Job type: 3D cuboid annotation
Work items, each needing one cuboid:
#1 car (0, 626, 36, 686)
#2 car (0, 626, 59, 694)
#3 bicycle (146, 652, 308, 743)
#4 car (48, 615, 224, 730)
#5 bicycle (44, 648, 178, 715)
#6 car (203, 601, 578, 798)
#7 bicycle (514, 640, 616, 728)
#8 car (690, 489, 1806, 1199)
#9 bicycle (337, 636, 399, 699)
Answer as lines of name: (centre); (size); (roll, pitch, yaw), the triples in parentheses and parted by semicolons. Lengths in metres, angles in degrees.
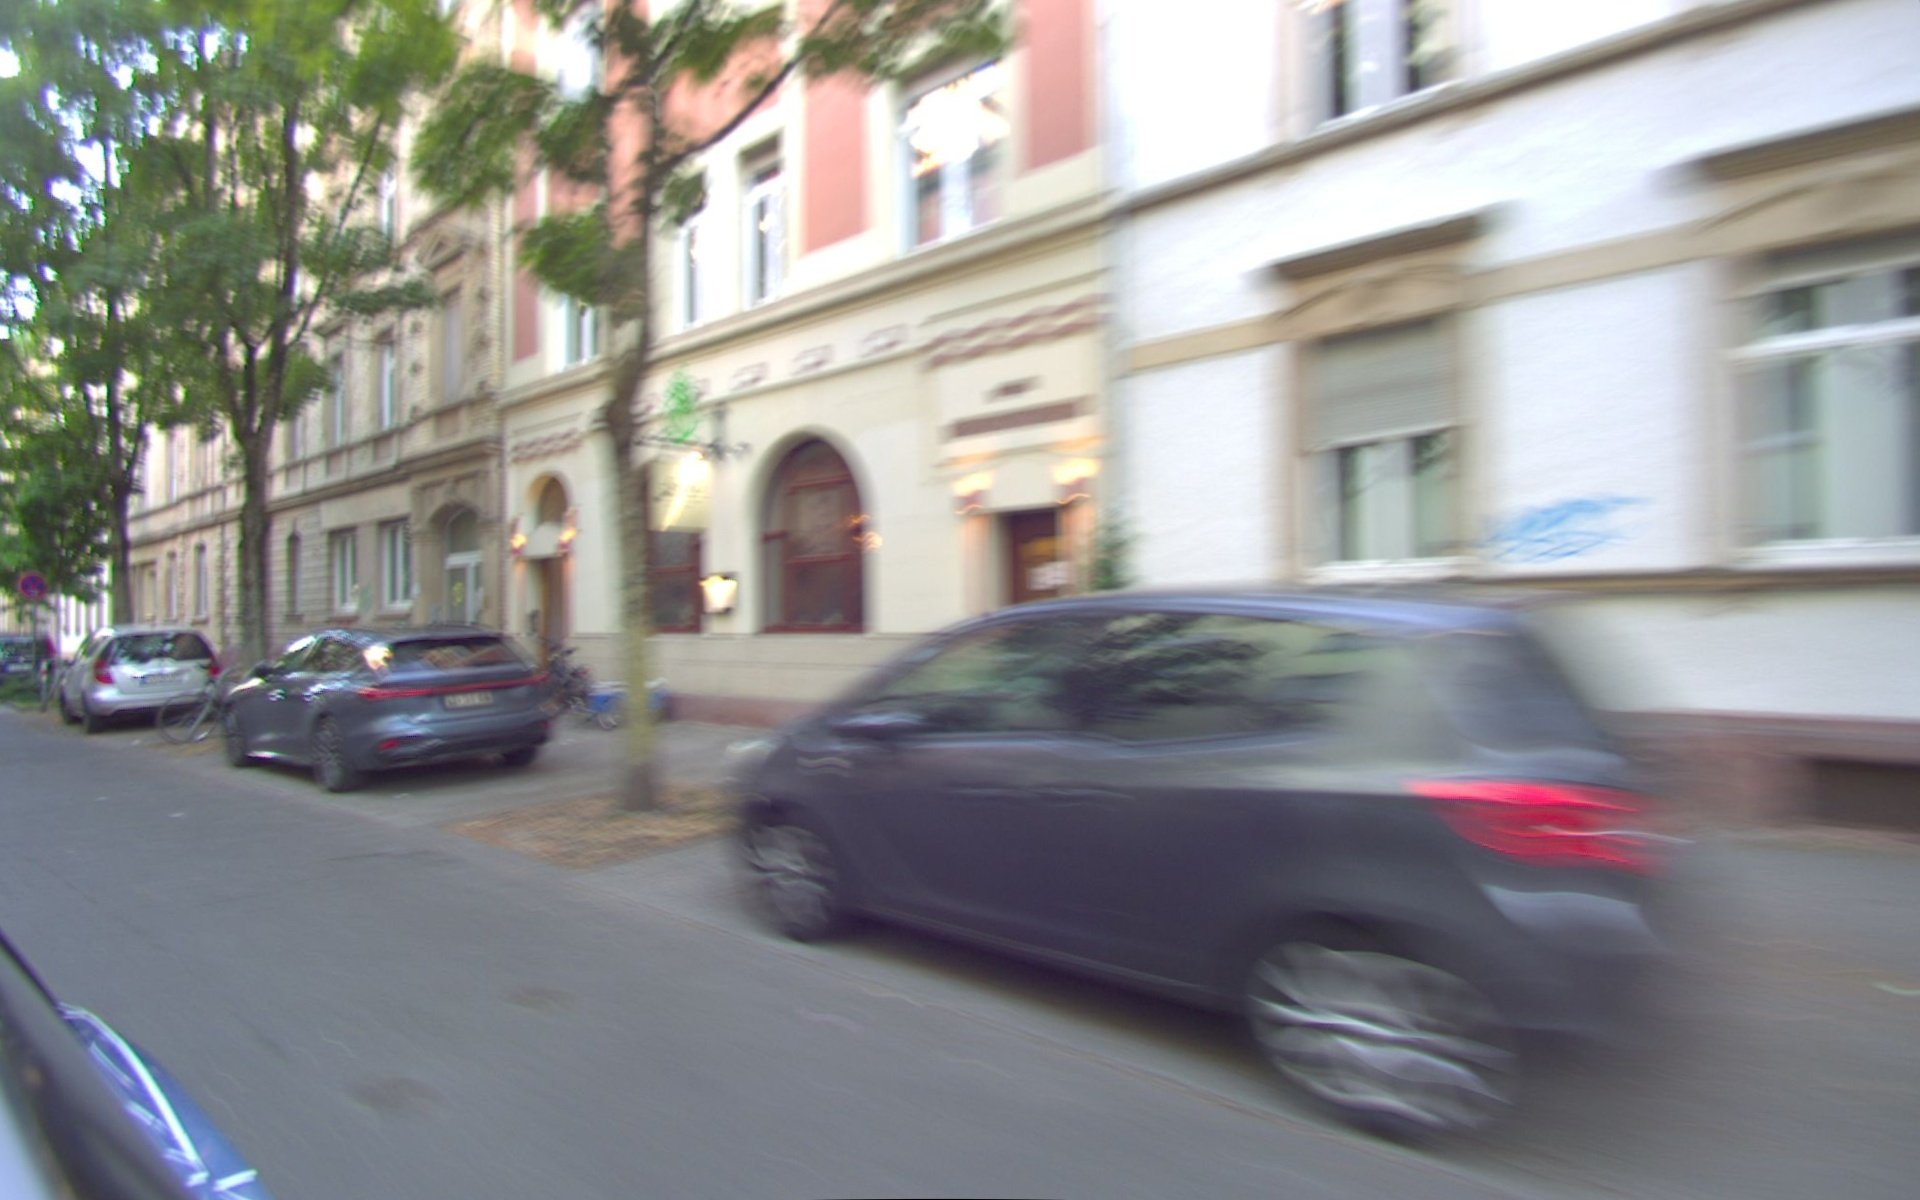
car: (-26.176, 1.485, 27.050); (3.708, 1.513, 1.674); (-2, 0, 39)
car: (-23.202, 1.420, 24.555); (3.558, 1.513, 1.504); (-2, 0, 40)
bicycle: (-9.751, 1.274, 13.515); (0.430, 1.011, 1.666); (-2, 1, 42)
car: (-13.413, 1.095, 16.403); (3.860, 1.620, 1.658); (-2, -1, 42)
bicycle: (-15.779, 1.489, 18.865); (0.592, 1.068, 1.857); (-1, 0, 21)
car: (-5.906, 0.846, 10.222); (4.682, 1.529, 1.787); (-2, 0, 40)
bicycle: (-5.383, 1.108, 13.738); (1.794, 1.106, 0.521); (-2, -2, 41)
car: (0.798, 0.605, 4.182); (4.076, 1.592, 1.689); (-2, -1, 41)
bicycle: (-11.069, 1.257, 18.899); (1.628, 1.098, 0.457); (-3, 0, 42)
